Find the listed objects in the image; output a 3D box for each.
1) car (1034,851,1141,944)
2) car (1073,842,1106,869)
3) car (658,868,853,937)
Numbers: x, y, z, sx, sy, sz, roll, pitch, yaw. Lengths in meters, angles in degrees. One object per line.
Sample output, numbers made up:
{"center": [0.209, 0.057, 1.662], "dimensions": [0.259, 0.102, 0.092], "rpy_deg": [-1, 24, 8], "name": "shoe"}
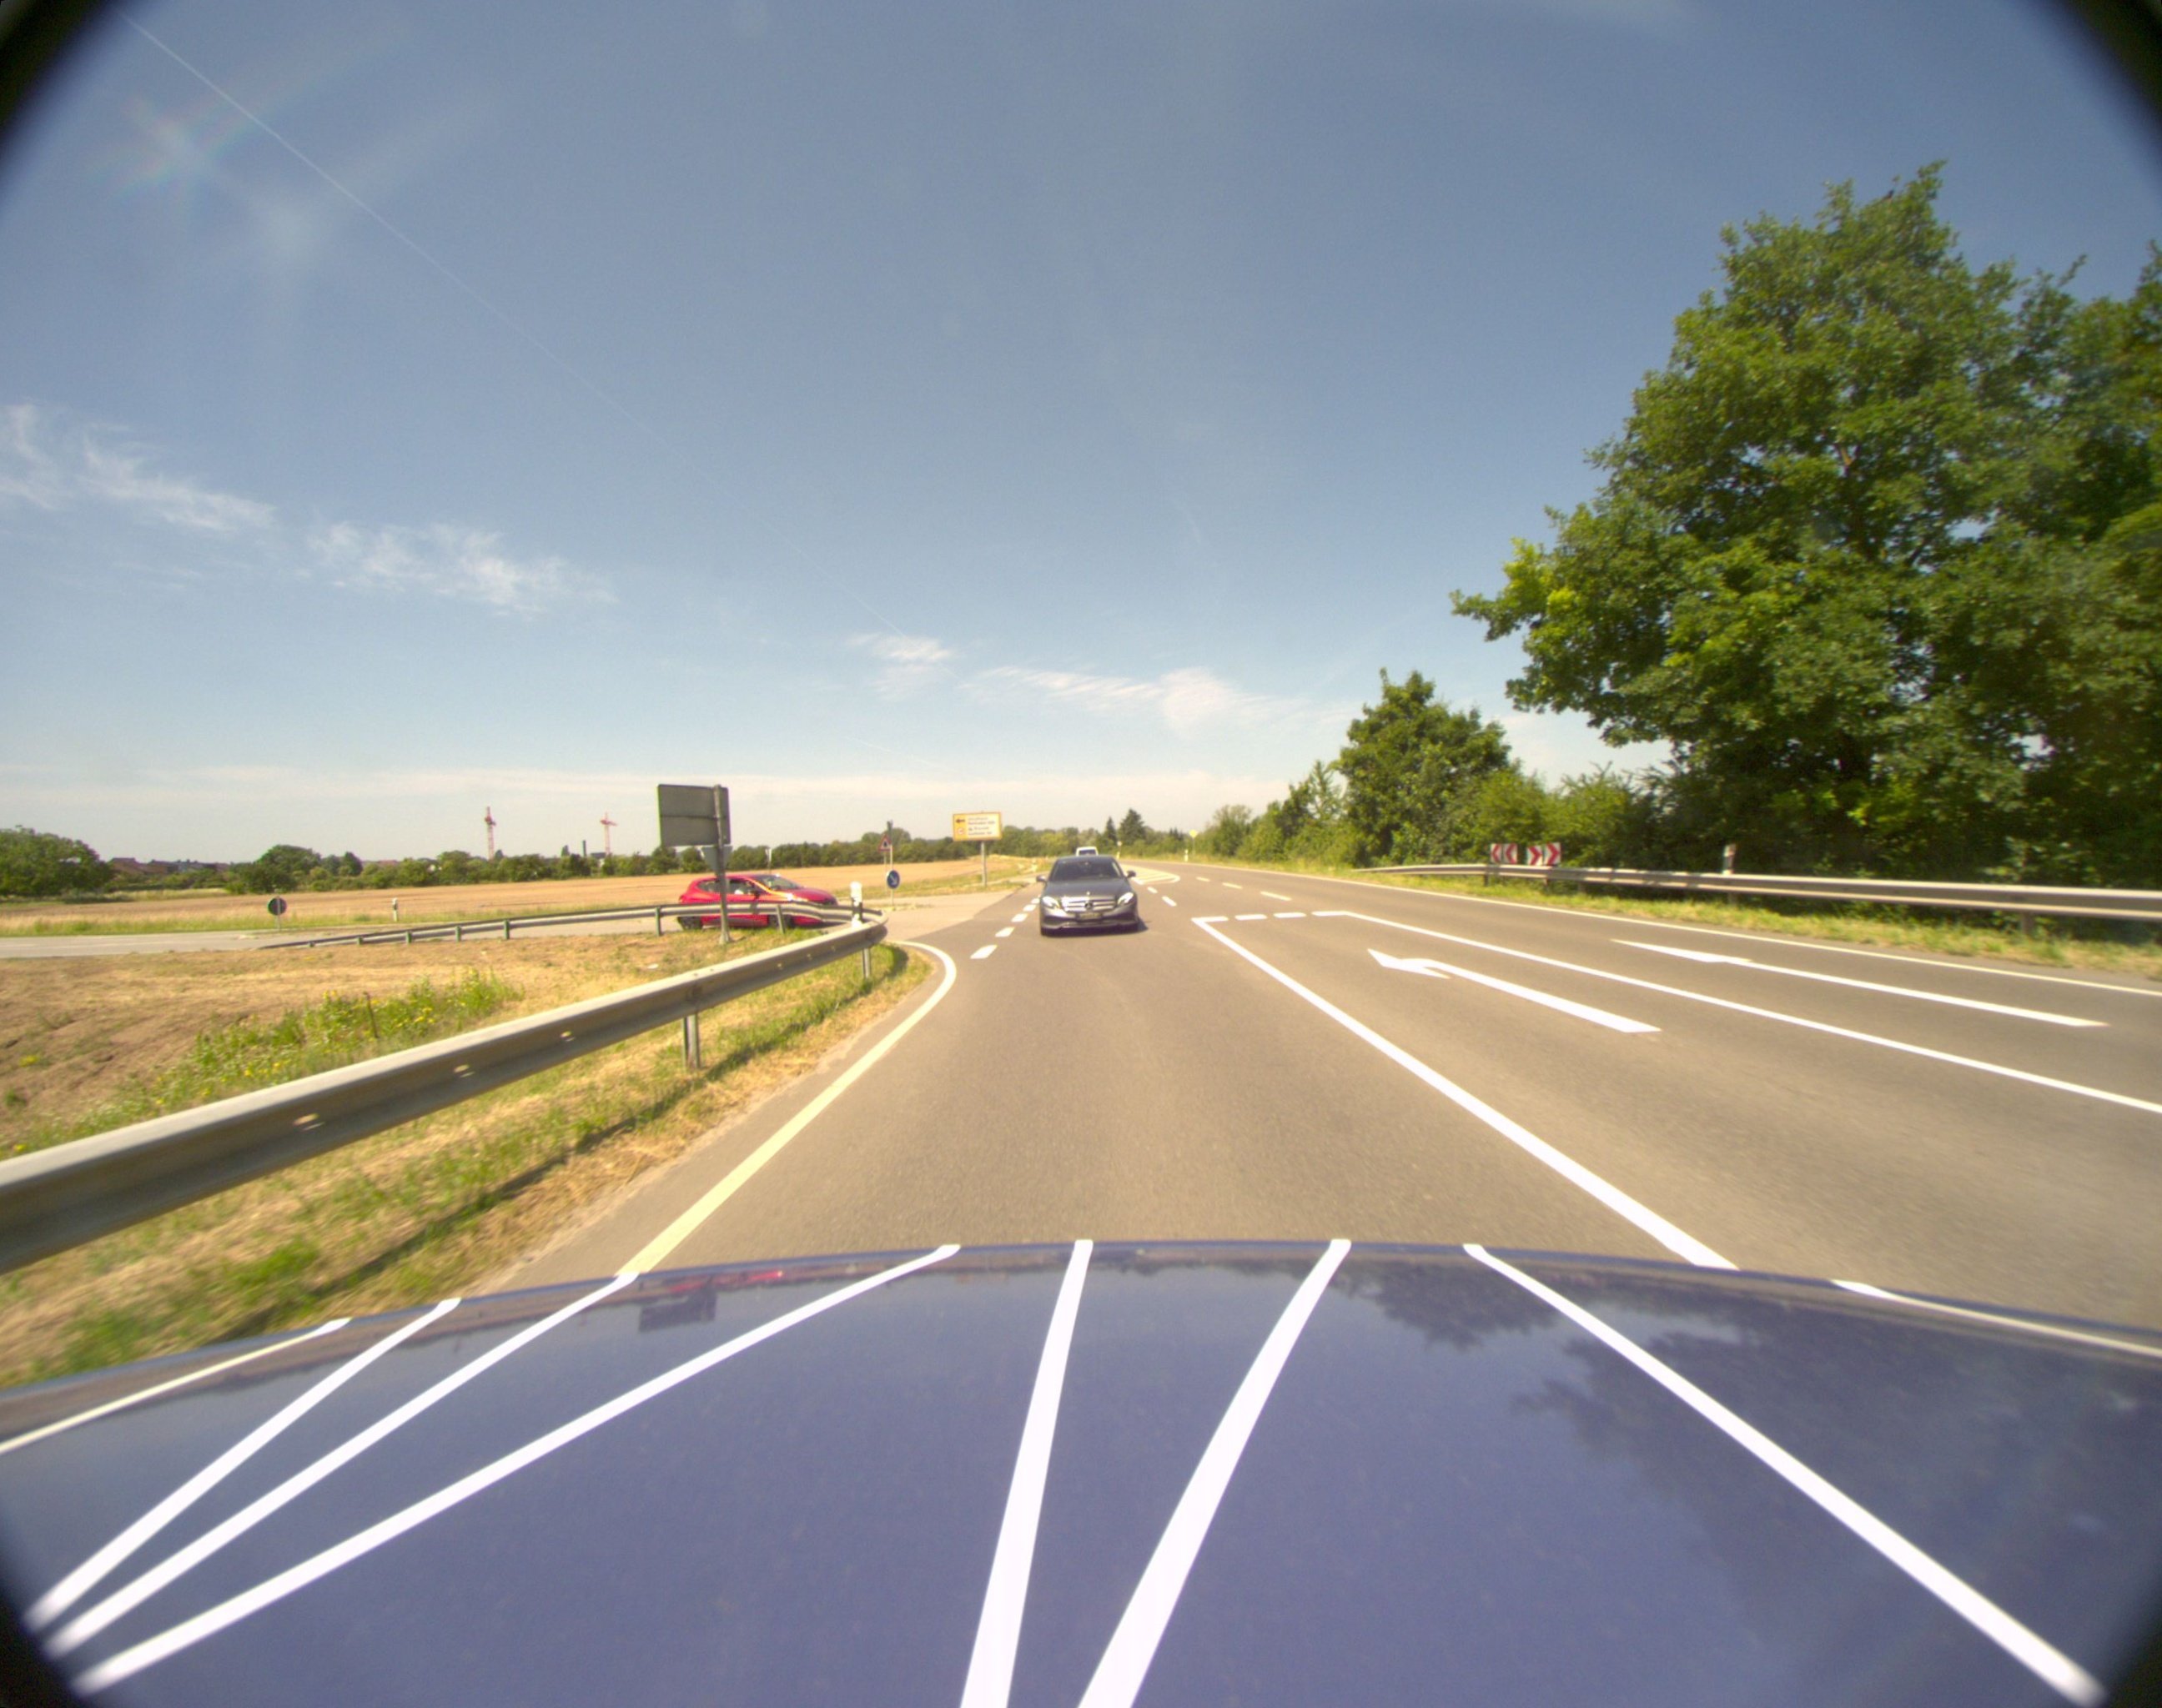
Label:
{"center": [0.251, 0.773, 15.922], "dimensions": [1.831, 1.540, 4.499], "rpy_deg": [-4, 0, 3], "name": "car"}
{"center": [0.635, 0.102, 63.116], "dimensions": [2.180, 2.002, 5.023], "rpy_deg": [-5, 1, -4], "name": "car"}
{"center": [-8.068, 1.194, 18.958], "dimensions": [4.159, 1.410, 1.781], "rpy_deg": [-3, 2, 14], "name": "car"}
